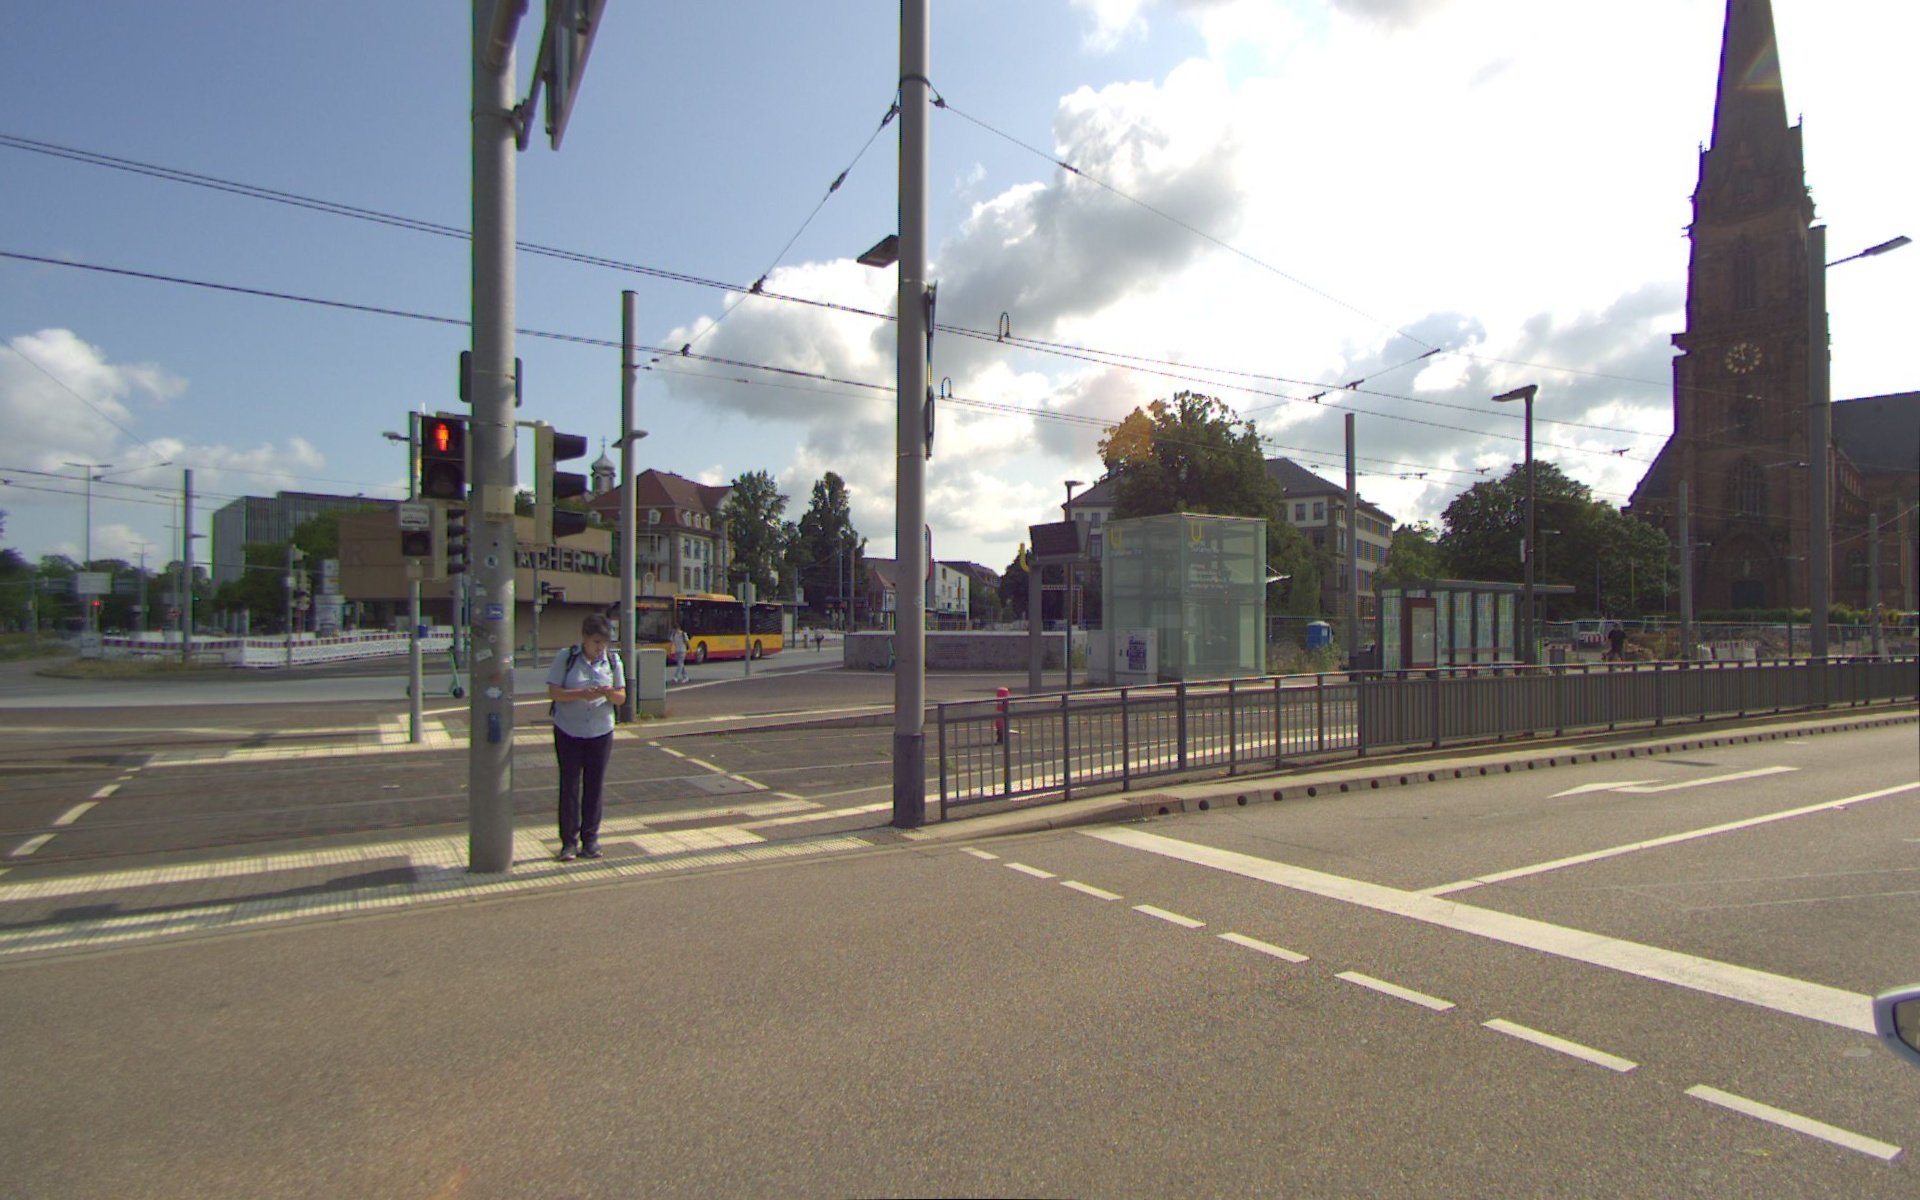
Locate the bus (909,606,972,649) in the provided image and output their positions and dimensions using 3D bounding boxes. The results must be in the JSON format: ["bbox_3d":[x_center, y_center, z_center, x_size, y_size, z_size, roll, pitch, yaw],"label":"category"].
[{"bbox_3d":[-1.565,2.474,90.746,2.905,3.554,12.262,0,-1,13],"label":"bus"}]

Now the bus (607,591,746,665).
[{"bbox_3d":[-11.872,1.172,42.872,2.646,2.871,7.105,0,-1,12],"label":"bus"}]

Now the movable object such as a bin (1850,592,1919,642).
[{"bbox_3d":[73.001,1.345,78.901,5.516,3.780,2.659,1,-1,-24],"label":"movable object such as a bin"}]

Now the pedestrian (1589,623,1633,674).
[{"bbox_3d":[24.360,1.803,37.612,1.032,1.824,0.994,-1,1,-26],"label":"pedestrian"}]

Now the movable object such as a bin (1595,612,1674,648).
[{"bbox_3d":[53.850,2.390,80.335,1.977,2.839,4.879,1,-2,-31],"label":"movable object such as a bin"}]

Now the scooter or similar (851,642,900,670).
[{"bbox_3d":[-2.993,1.995,35.588,1.630,0.962,0.474,0,-1,13],"label":"scooter or similar"}]

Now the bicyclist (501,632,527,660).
[{"bbox_3d":[-20.366,2.095,45.893,0.683,1.167,0.739,4,-4,10],"label":"bicyclist"}]

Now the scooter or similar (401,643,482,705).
[{"bbox_3d":[-11.600,1.639,22.453,1.477,1.204,1.328,6,-2,-29],"label":"scooter or similar"}]

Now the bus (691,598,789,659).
[{"bbox_3d":[-10.604,1.345,48.838,2.647,2.621,5.081,5,0,12],"label":"bus"}]

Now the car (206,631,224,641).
[{"bbox_3d":[-112.564,5.426,151.739,1.980,1.589,4.736,1,-2,-35],"label":"car"}]

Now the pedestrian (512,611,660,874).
[{"bbox_3d":[-2.644,0.946,7.076,0.787,1.695,0.837,2,-3,-33],"label":"pedestrian"}]

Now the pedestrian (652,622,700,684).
[{"bbox_3d":[-8.218,1.513,29.100,0.911,1.712,1.098,1,0,10],"label":"pedestrian"}]

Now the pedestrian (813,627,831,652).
[{"bbox_3d":[-8.499,2.422,61.909,0.794,1.542,0.840,1,-2,-44],"label":"pedestrian"}]

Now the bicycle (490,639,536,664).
[{"bbox_3d":[-20.381,2.348,45.870,0.796,1.005,2.072,4,-4,10],"label":"bicycle"}]

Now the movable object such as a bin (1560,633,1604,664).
[{"bbox_3d":[46.348,3.558,74.833,1.972,2.235,4.247,-1,-2,43],"label":"movable object such as a bin"}]
